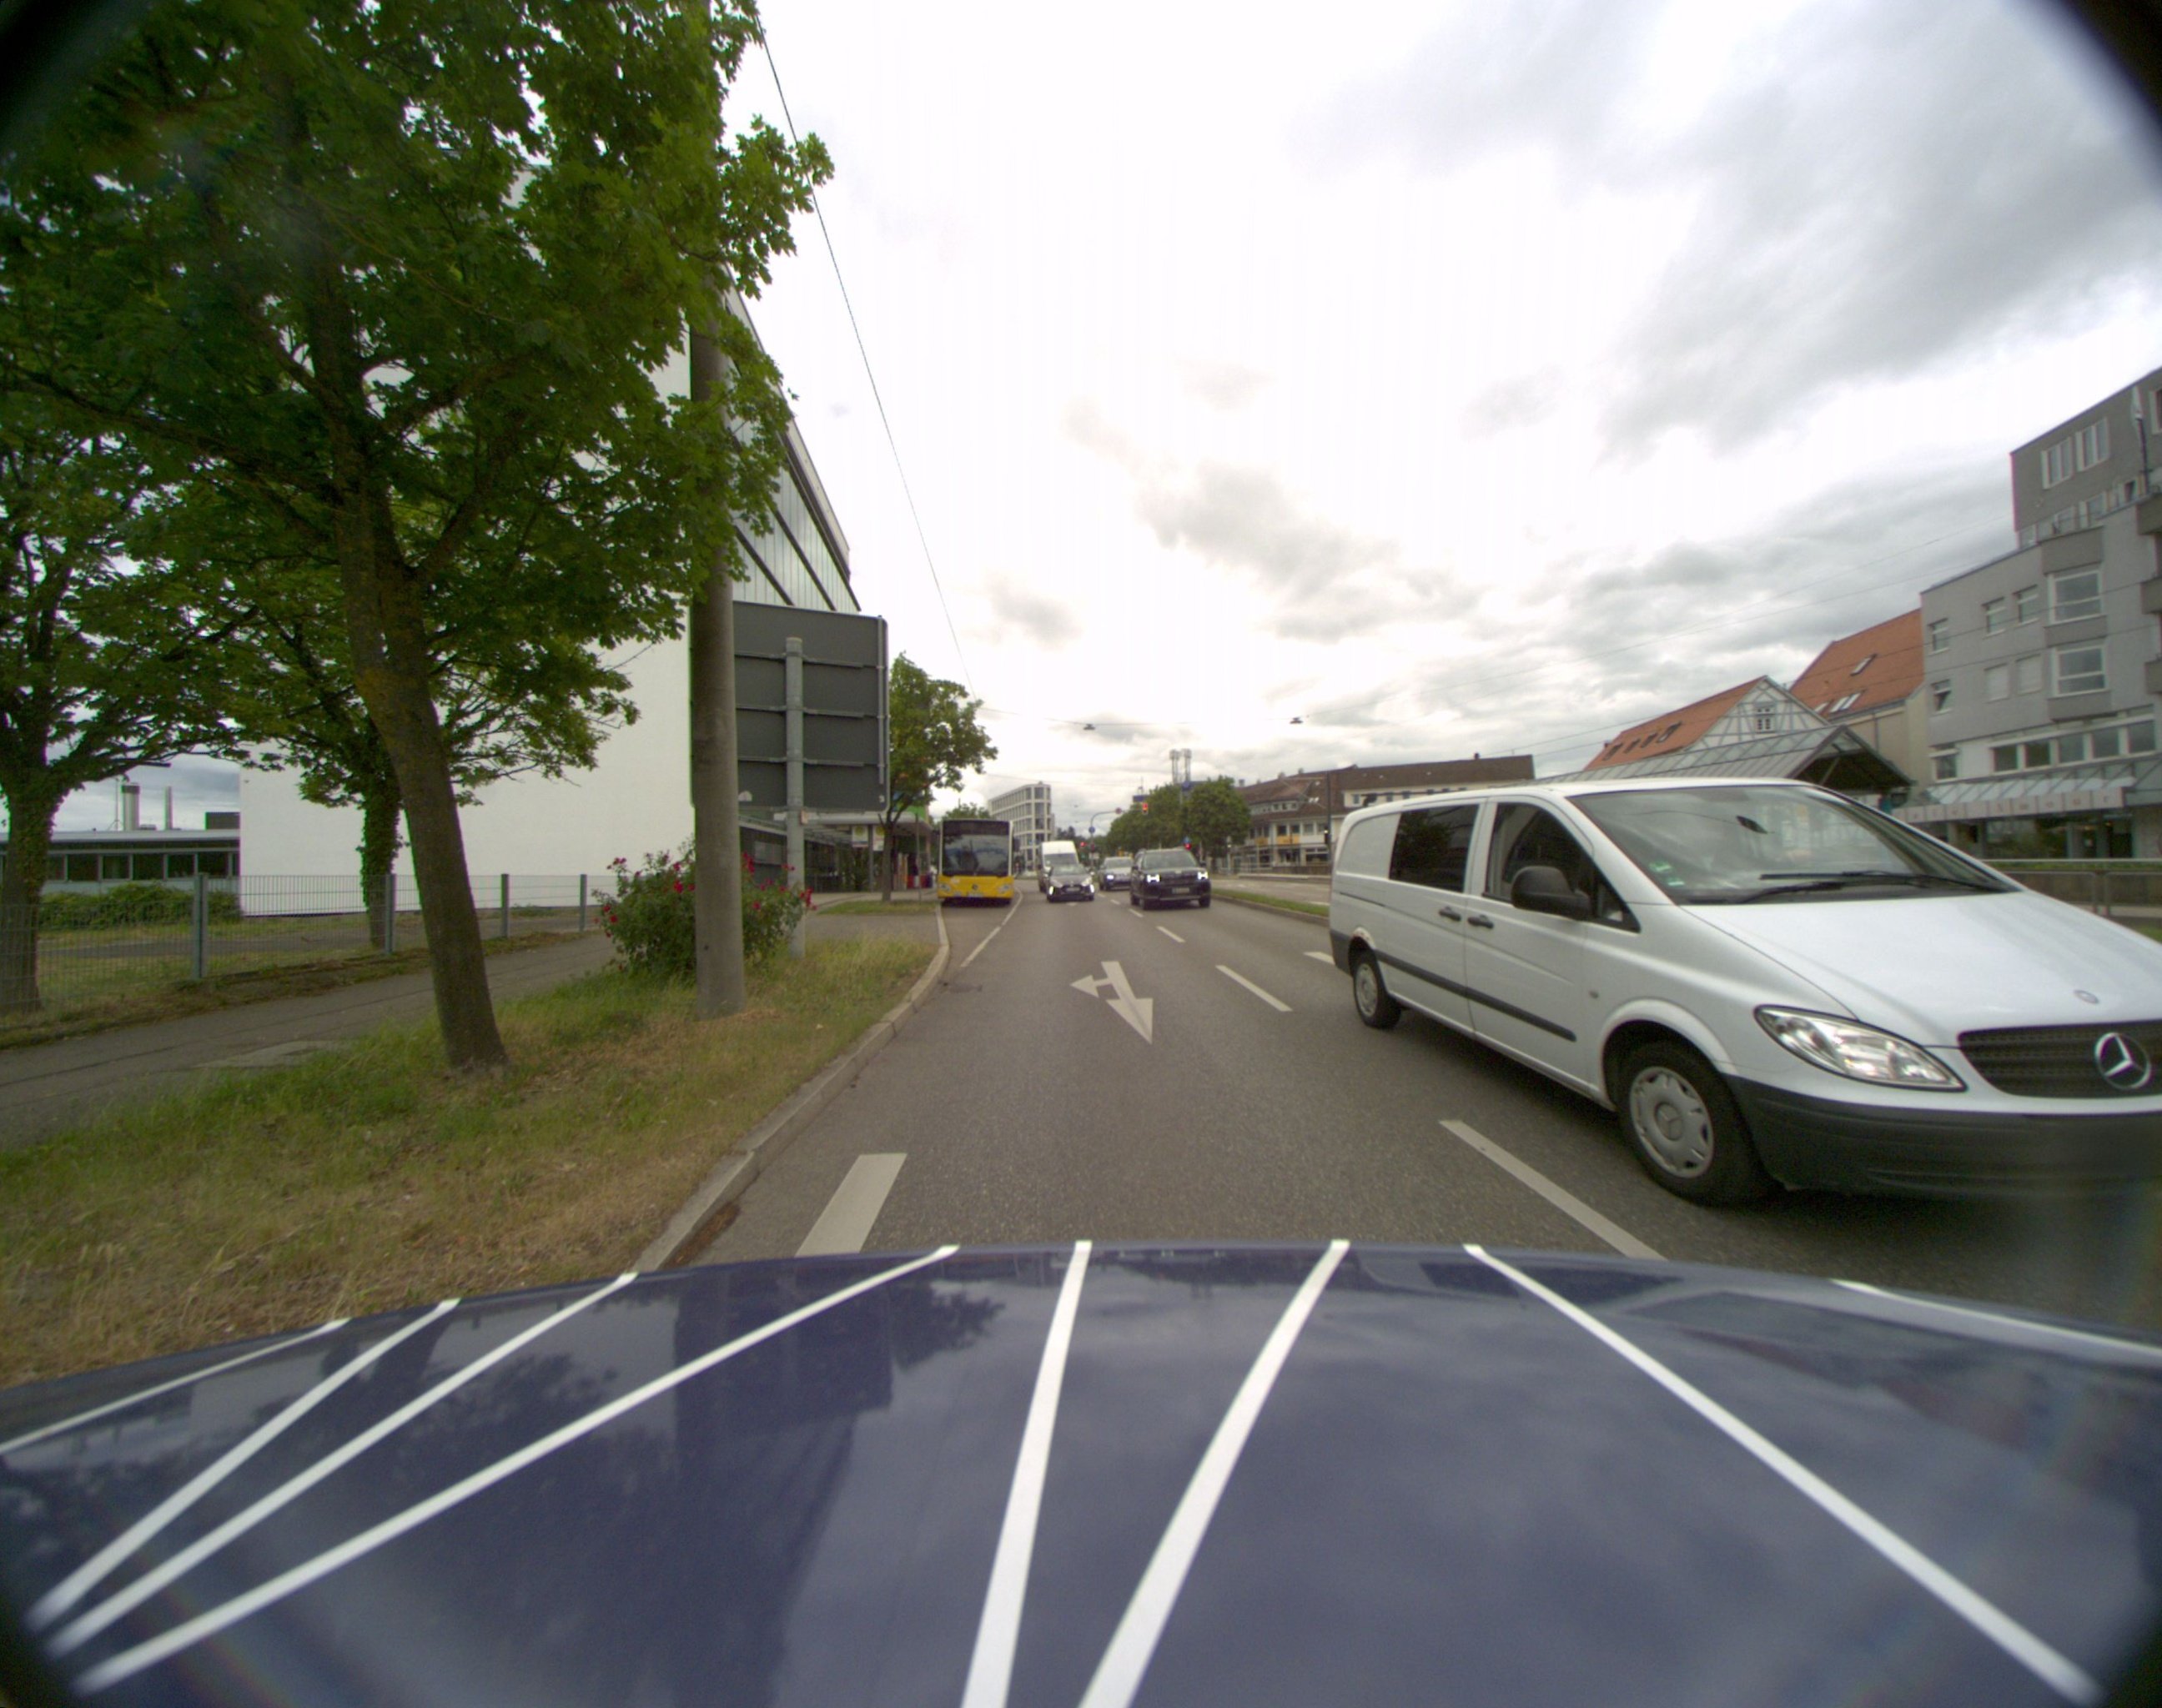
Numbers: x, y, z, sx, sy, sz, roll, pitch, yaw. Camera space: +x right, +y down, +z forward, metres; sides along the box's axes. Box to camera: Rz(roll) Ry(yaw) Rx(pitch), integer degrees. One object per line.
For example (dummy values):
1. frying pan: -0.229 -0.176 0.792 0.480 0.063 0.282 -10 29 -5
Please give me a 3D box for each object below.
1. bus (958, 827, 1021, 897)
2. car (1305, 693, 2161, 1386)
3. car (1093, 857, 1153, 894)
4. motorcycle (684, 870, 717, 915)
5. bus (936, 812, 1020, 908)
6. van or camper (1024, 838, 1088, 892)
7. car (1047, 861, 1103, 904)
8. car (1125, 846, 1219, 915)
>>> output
1. bus: -4.457 0.423 38.663 2.720 3.090 8.867 -1 -1 -4
2. car: 3.223 0.552 4.793 1.879 2.001 5.075 -2 -1 -2
3. car: 2.036 1.021 38.073 2.000 1.640 4.390 -3 0 -10
4. motorcycle: -10.870 1.068 21.682 0.585 1.214 1.577 -2 1 -35
5. bus: -3.768 0.268 29.672 2.720 3.145 9.124 1 -1 -5
6. van or camper: -1.516 0.618 42.167 2.282 2.690 6.988 -1 -1 -12
7. car: -0.310 1.042 29.479 1.864 1.516 3.999 -1 -1 -4
8. car: 2.599 0.696 22.778 1.927 1.741 4.676 -4 1 -3
